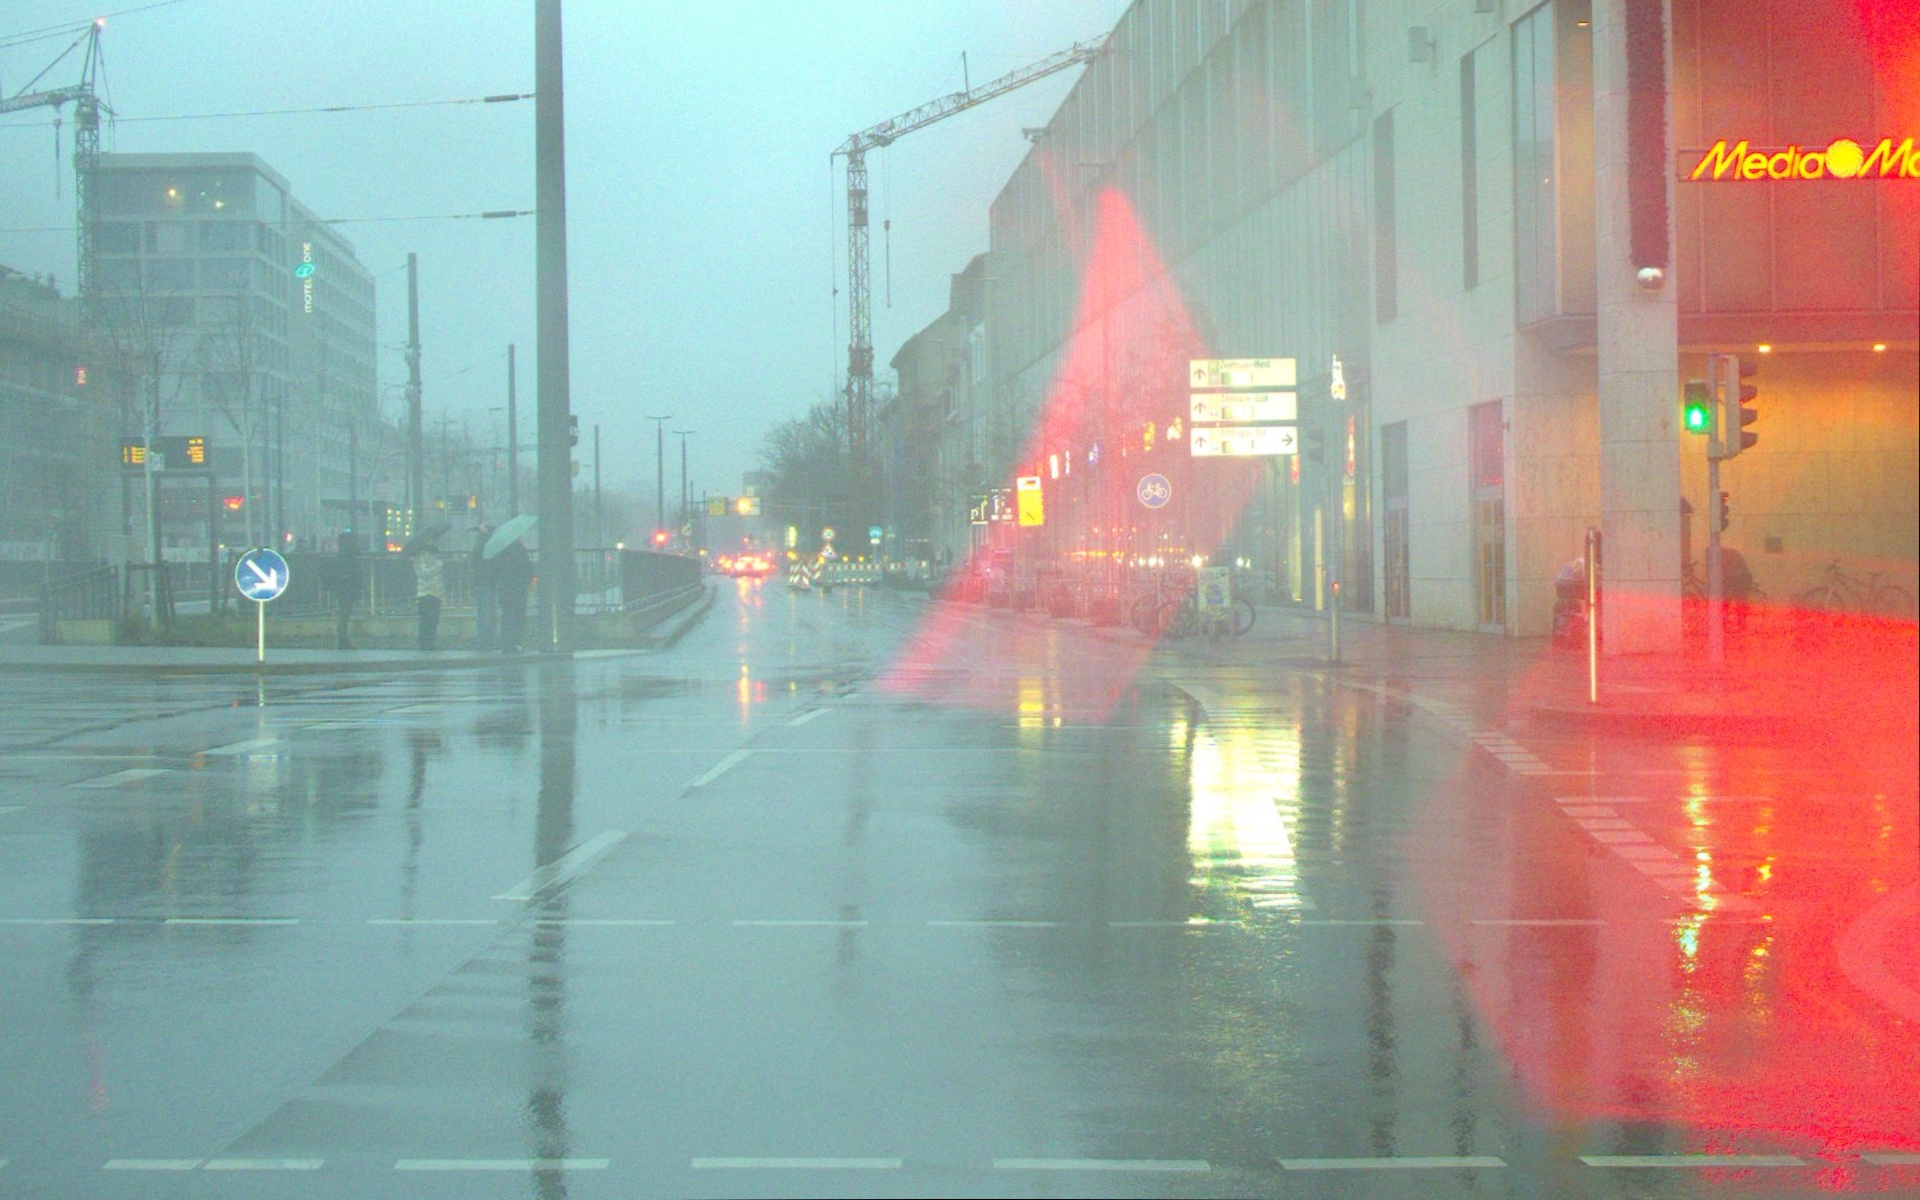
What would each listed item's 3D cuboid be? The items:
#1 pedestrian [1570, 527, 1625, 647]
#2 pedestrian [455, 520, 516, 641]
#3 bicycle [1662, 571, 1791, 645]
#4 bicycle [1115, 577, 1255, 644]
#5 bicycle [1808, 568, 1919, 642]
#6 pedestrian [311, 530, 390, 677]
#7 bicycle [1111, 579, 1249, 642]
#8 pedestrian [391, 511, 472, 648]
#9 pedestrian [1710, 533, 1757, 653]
[{"bbox_3d":[9.131,-0.188,49.246,0.636,1.703,0.573,-1,0,-1],"label":"pedestrian"},{"bbox_3d":[-6.628,-0.275,48.020,0.612,1.680,0.577,1,1,42],"label":"pedestrian"},{"bbox_3d":[11.296,0.113,50.684,1.767,1.066,0.525,1,0,-8],"label":"bicycle"},{"bbox_3d":[4.029,0.183,61.620,2.442,1.150,0.674,-1,0,-1],"label":"bicycle"},{"bbox_3d":[13.427,0.074,50.823,1.646,1.066,0.525,1,0,-4],"label":"bicycle"},{"bbox_3d":[-8.401,0.041,47.392,0.785,2.007,0.726,1,1,42],"label":"pedestrian"},{"bbox_3d":[3.978,0.182,62.386,2.425,1.095,0.712,-1,0,-2],"label":"bicycle"},{"bbox_3d":[-7.151,-0.277,46.513,0.821,1.825,0.786,1,0,-31],"label":"pedestrian"},{"bbox_3d":[11.271,-0.107,50.120,0.600,1.739,0.524,1,0,8],"label":"pedestrian"}]
